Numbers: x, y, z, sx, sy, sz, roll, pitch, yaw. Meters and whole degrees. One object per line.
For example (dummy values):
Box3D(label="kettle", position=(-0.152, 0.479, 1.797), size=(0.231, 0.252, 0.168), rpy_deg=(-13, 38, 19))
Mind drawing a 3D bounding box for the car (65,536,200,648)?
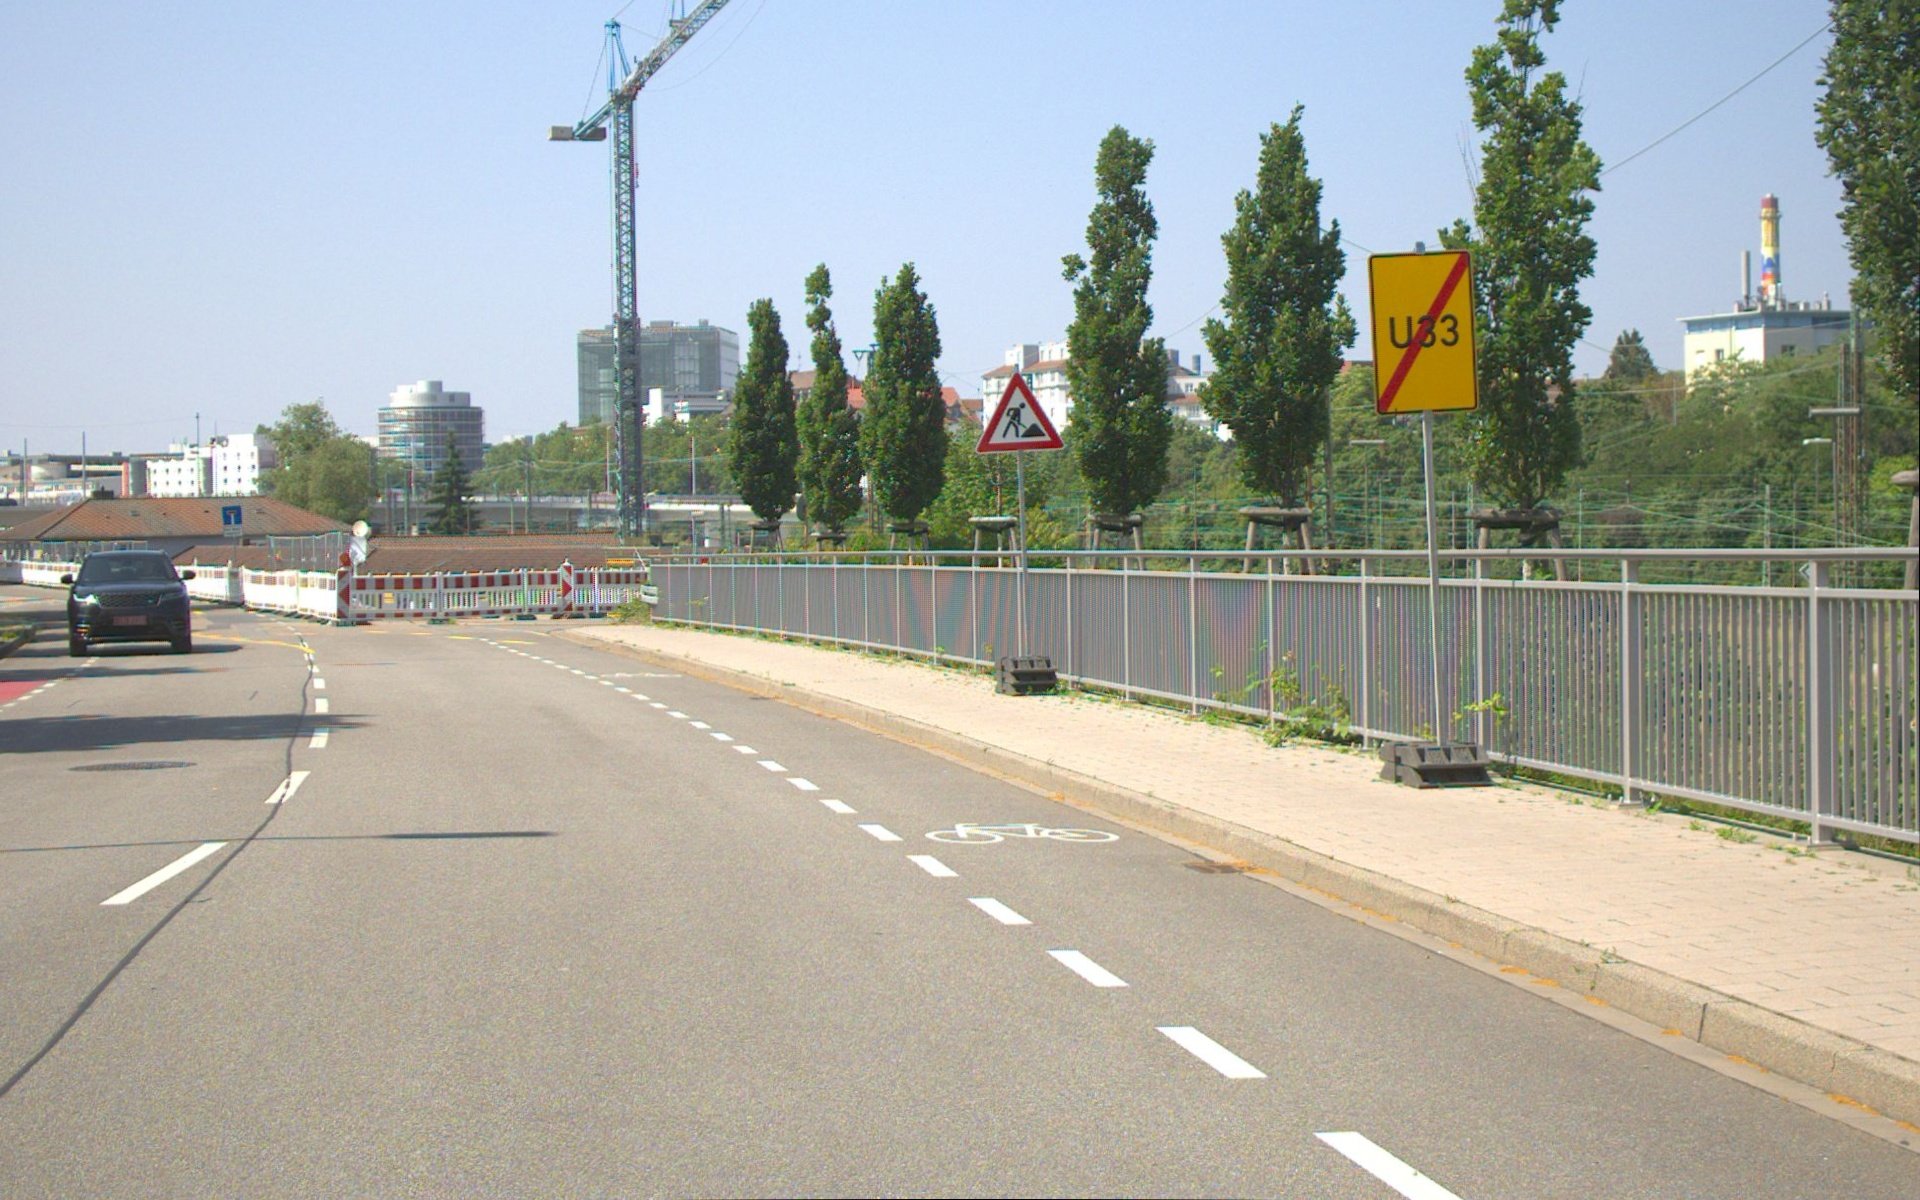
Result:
Box3D(label="car", position=(-13.537, -0.169, 56.071), size=(1.949, 1.689, 4.614), rpy_deg=(-2, 2, -15))
